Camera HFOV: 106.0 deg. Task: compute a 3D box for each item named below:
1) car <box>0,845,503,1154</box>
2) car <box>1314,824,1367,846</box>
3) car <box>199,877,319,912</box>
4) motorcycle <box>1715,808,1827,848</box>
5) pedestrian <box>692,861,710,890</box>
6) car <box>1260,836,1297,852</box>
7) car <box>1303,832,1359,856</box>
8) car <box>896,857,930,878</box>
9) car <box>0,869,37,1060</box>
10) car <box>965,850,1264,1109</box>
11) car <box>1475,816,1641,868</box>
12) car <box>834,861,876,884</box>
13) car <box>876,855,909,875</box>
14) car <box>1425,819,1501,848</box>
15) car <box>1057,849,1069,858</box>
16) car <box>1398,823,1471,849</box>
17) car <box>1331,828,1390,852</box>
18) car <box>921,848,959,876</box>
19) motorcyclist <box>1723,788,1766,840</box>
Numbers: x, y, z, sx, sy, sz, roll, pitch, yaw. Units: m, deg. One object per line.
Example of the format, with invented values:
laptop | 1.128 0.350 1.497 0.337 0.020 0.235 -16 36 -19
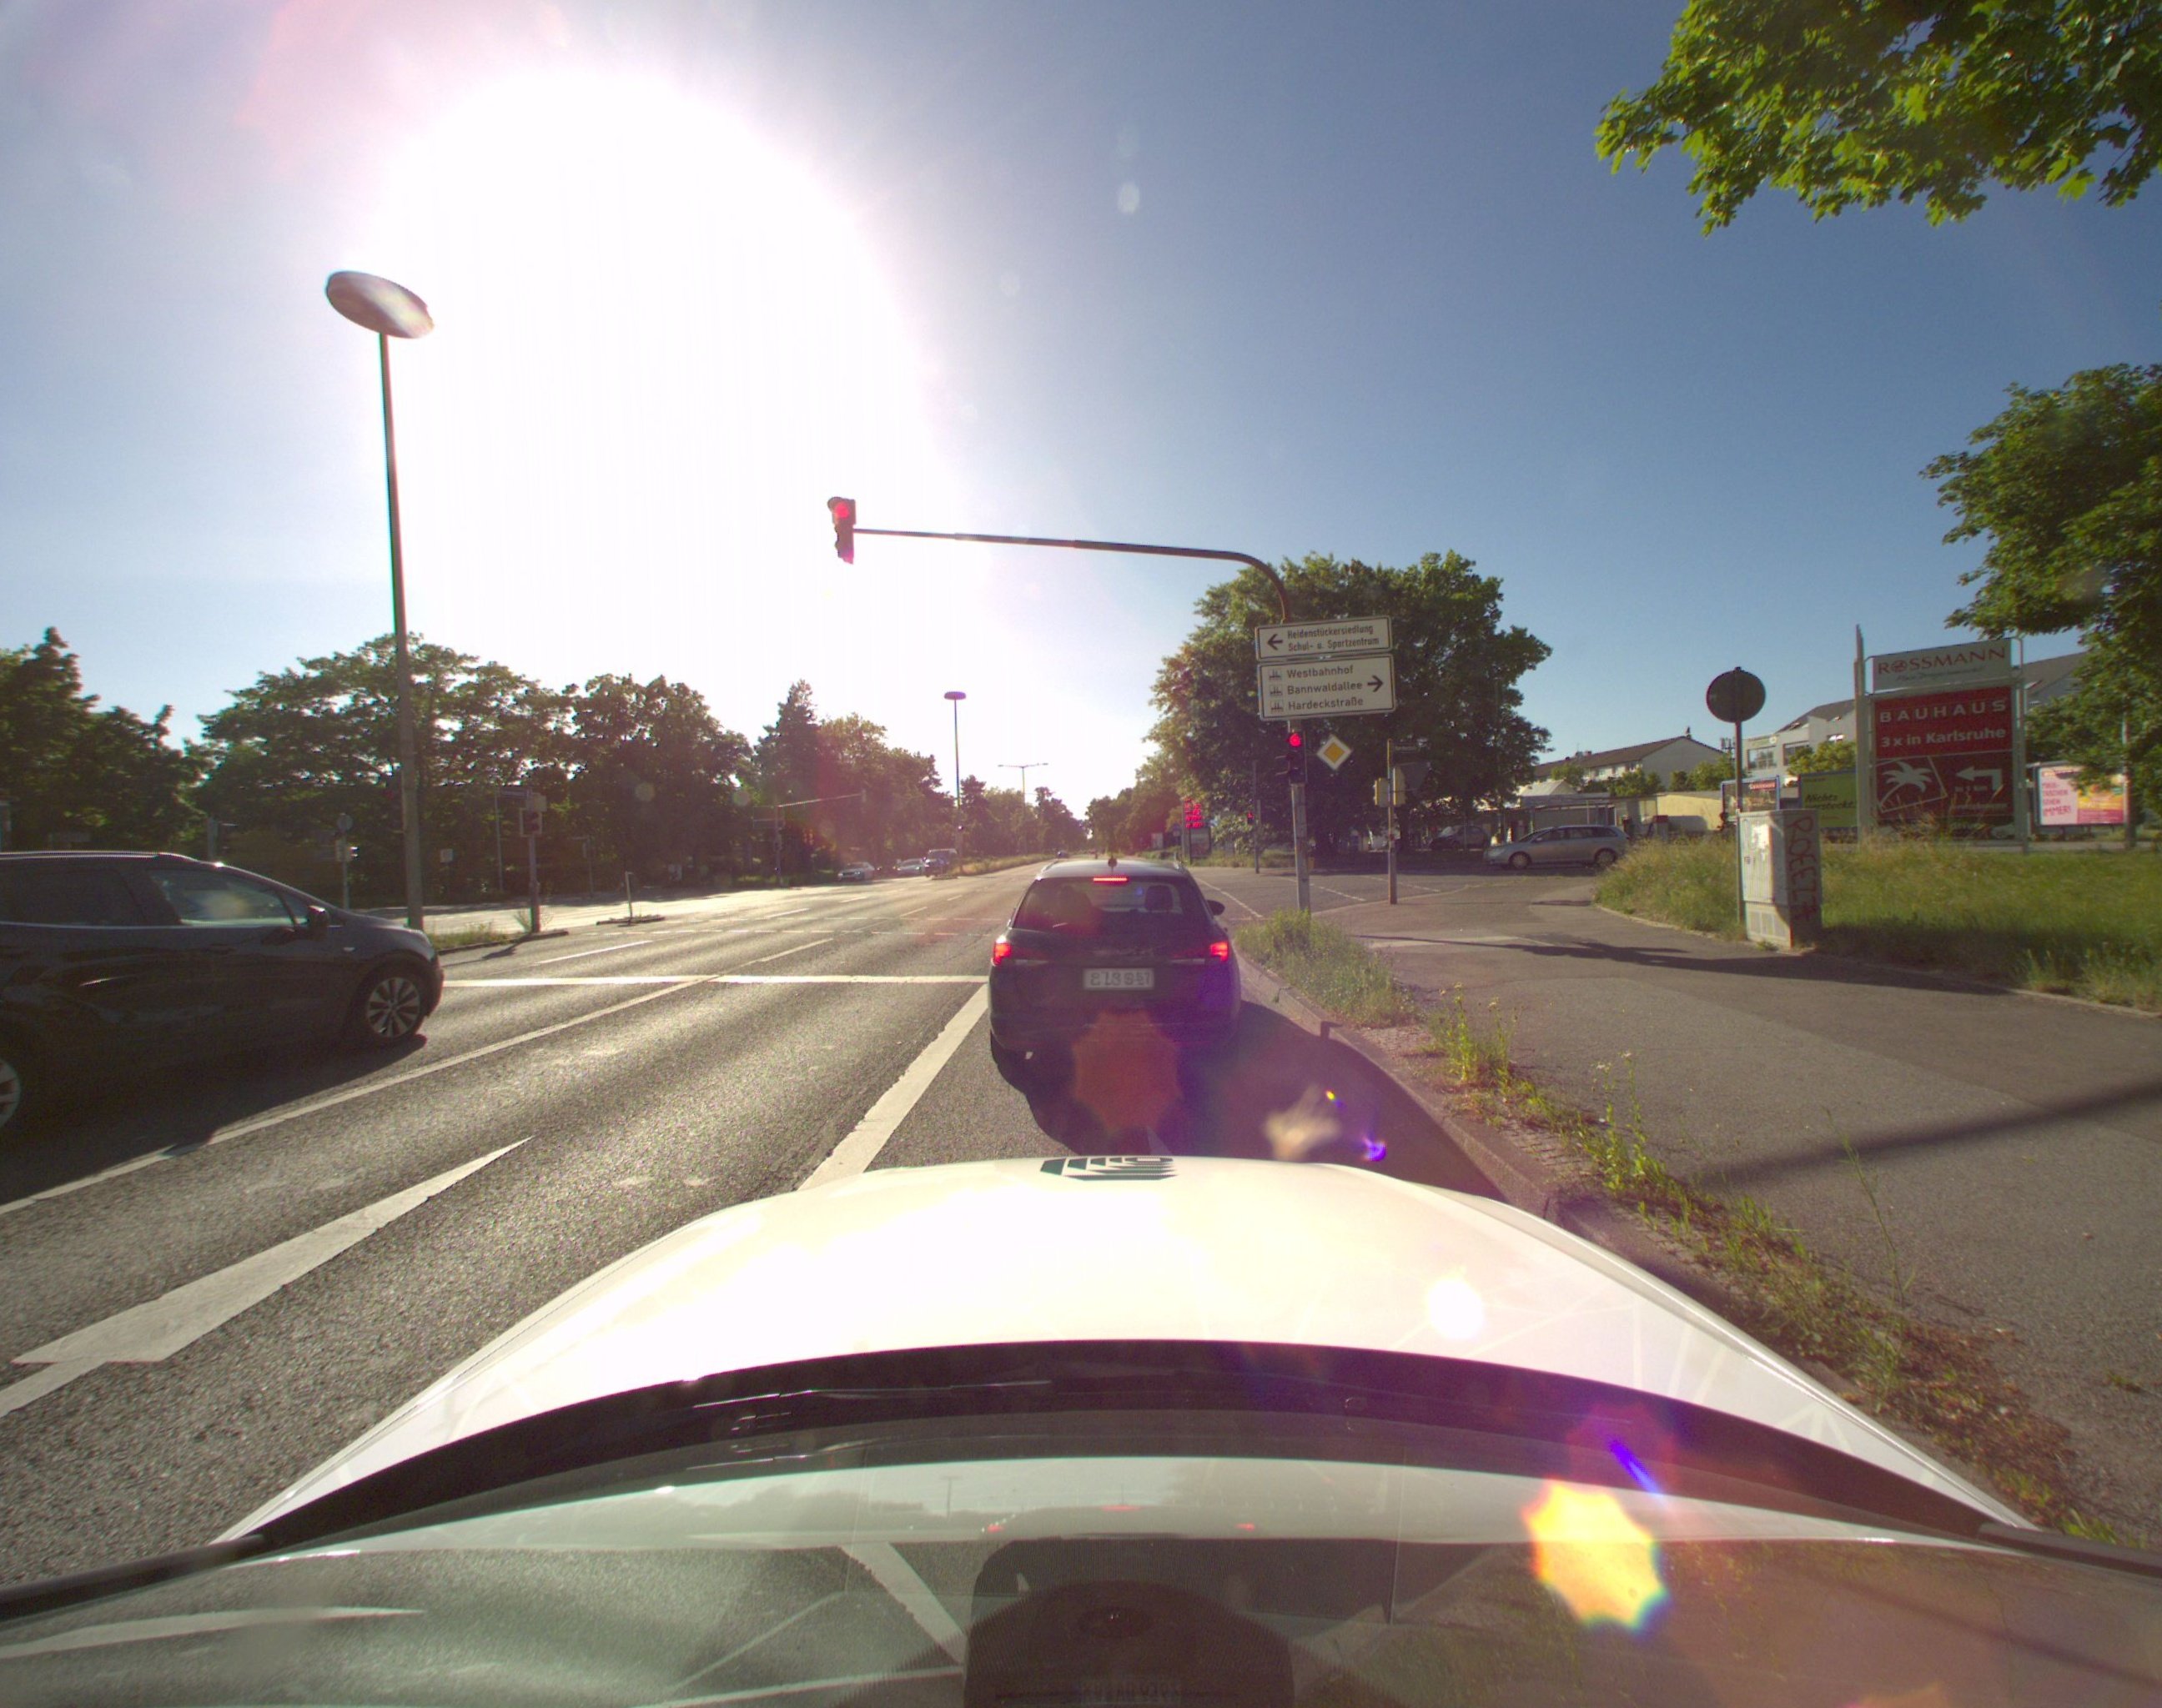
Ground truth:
car | -6.535 0.800 5.681 1.689 1.632 4.419 -2 0 2
car | 20.615 -1.516 64.717 3.701 1.685 1.703 0 -1 -1
car | -36.265 1.760 35.975 3.892 1.423 1.876 0 0 12
motorcycle | 22.860 -0.844 27.042 2.703 1.270 0.838 0 -1 17
pedestrian | -24.938 1.396 53.498 0.841 1.835 0.550 -3 0 5
car | 22.273 -1.124 91.943 3.701 1.685 1.703 0 -1 -1
car | 18.039 -0.695 58.793 3.729 1.685 1.690 0 -1 -25
car | -13.891 1.133 67.440 1.857 1.684 4.002 0 0 2
car | -10.101 0.964 5.080 1.778 1.610 4.107 -2 0 2
car | 0.254 0.761 6.770 1.749 1.509 3.810 -1 0 1
car | 16.587 -0.393 28.573 4.586 1.574 2.007 -2 -1 13
car | -17.255 1.402 62.439 1.857 1.684 4.262 0 0 2
car | -17.214 0.966 74.571 1.986 1.750 4.002 -2 0 2
car | 22.300 -1.176 47.539 3.846 1.612 1.794 0 0 -18
car | -3.143 -0.064 141.903 1.881 1.552 4.001 -2 0 2
car | 21.426 -1.055 49.436 3.846 1.482 1.794 0 0 -18
car | 19.400 -0.954 56.468 3.860 1.563 1.787 0 -1 -31
car | -10.305 0.600 59.955 1.986 2.014 4.001 0 0 2
motorcyclist | 22.170 -1.317 27.236 0.853 1.680 0.838 0 -1 18
